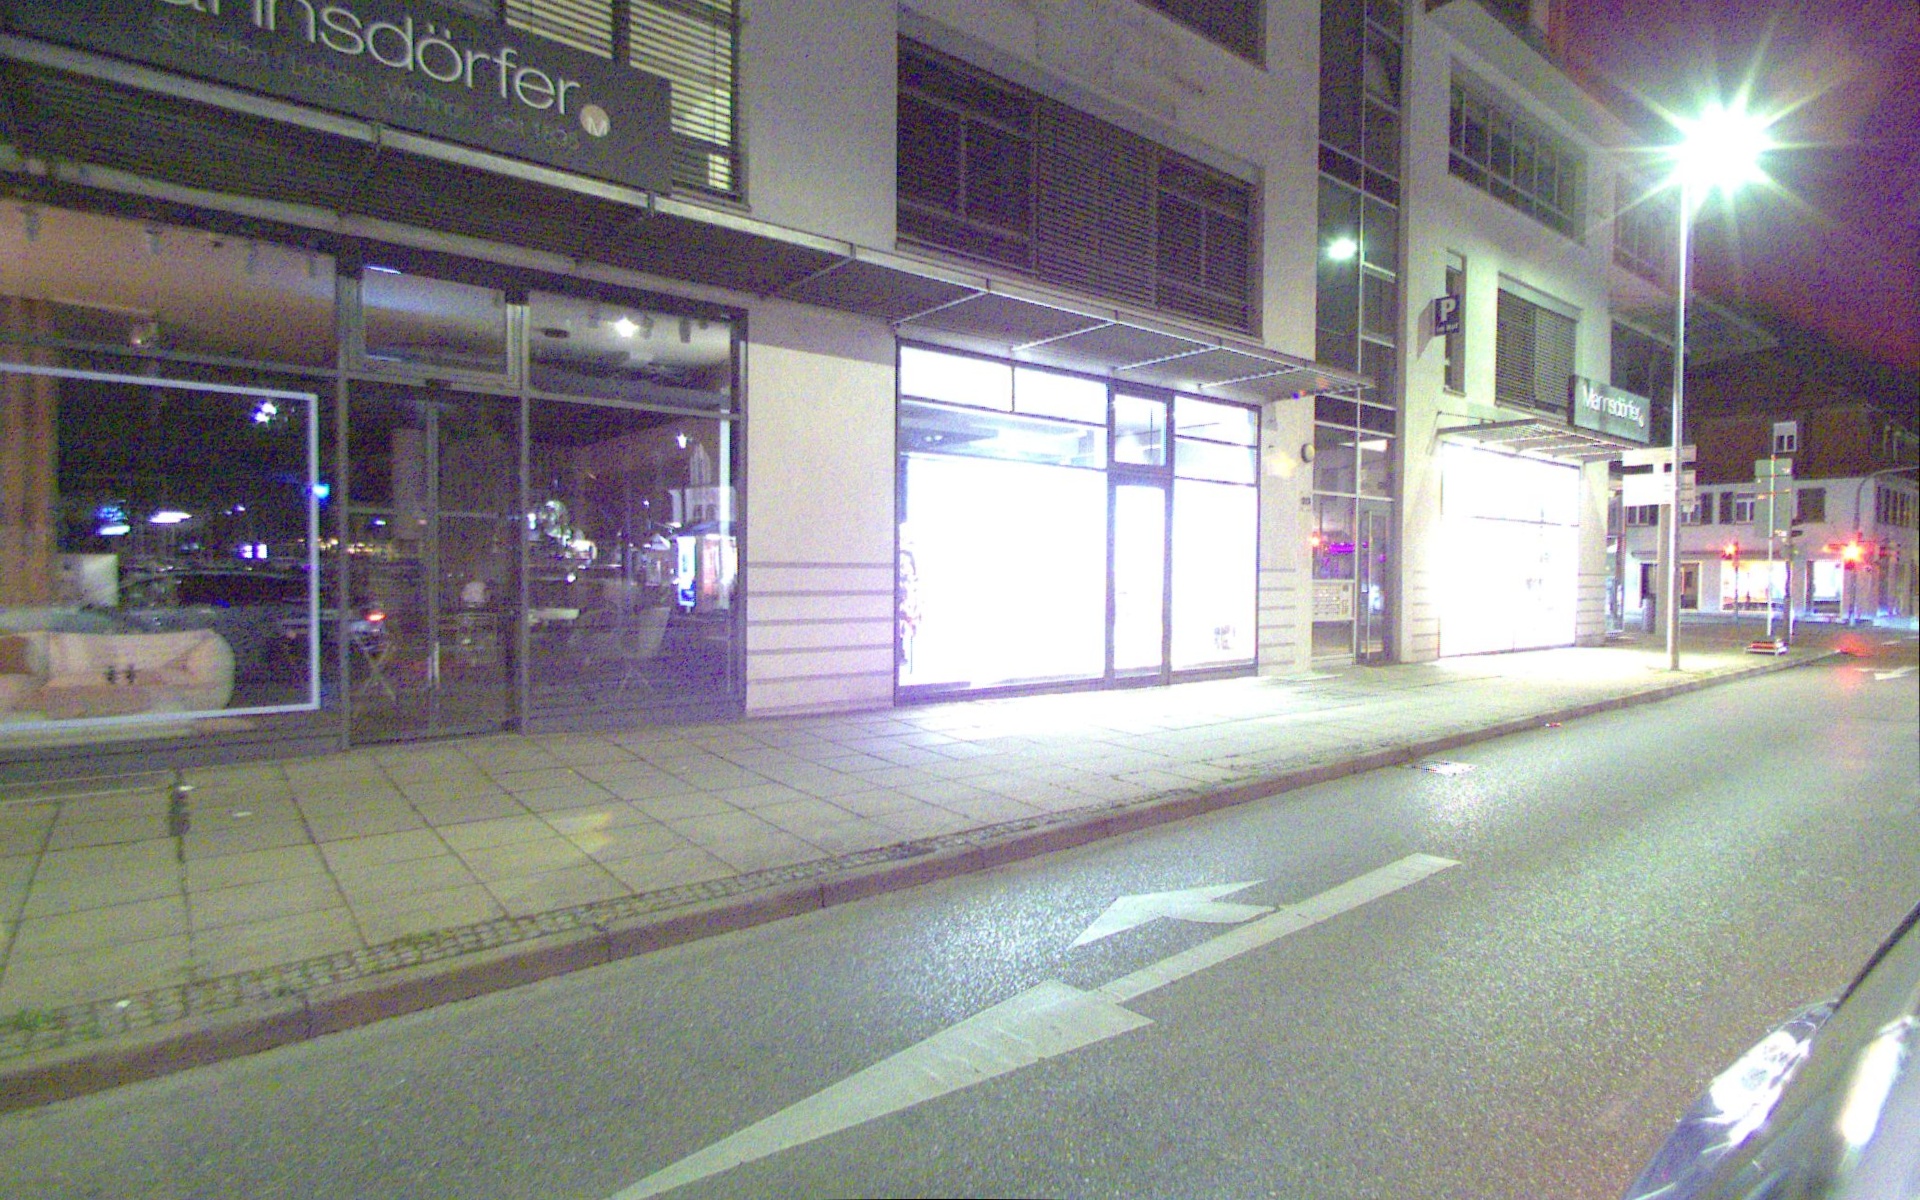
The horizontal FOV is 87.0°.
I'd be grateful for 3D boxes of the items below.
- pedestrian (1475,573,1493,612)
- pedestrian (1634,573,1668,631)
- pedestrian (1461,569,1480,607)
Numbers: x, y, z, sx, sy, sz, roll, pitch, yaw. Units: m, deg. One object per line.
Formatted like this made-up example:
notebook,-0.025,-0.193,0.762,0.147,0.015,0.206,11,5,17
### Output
pedestrian,23.577,-0.360,45.508,0.556,1.738,0.524,0,0,-35
pedestrian,20.381,0.053,29.866,0.634,1.703,0.541,0,0,-19
pedestrian,23.246,-0.554,46.112,0.556,1.738,0.567,0,0,-34
